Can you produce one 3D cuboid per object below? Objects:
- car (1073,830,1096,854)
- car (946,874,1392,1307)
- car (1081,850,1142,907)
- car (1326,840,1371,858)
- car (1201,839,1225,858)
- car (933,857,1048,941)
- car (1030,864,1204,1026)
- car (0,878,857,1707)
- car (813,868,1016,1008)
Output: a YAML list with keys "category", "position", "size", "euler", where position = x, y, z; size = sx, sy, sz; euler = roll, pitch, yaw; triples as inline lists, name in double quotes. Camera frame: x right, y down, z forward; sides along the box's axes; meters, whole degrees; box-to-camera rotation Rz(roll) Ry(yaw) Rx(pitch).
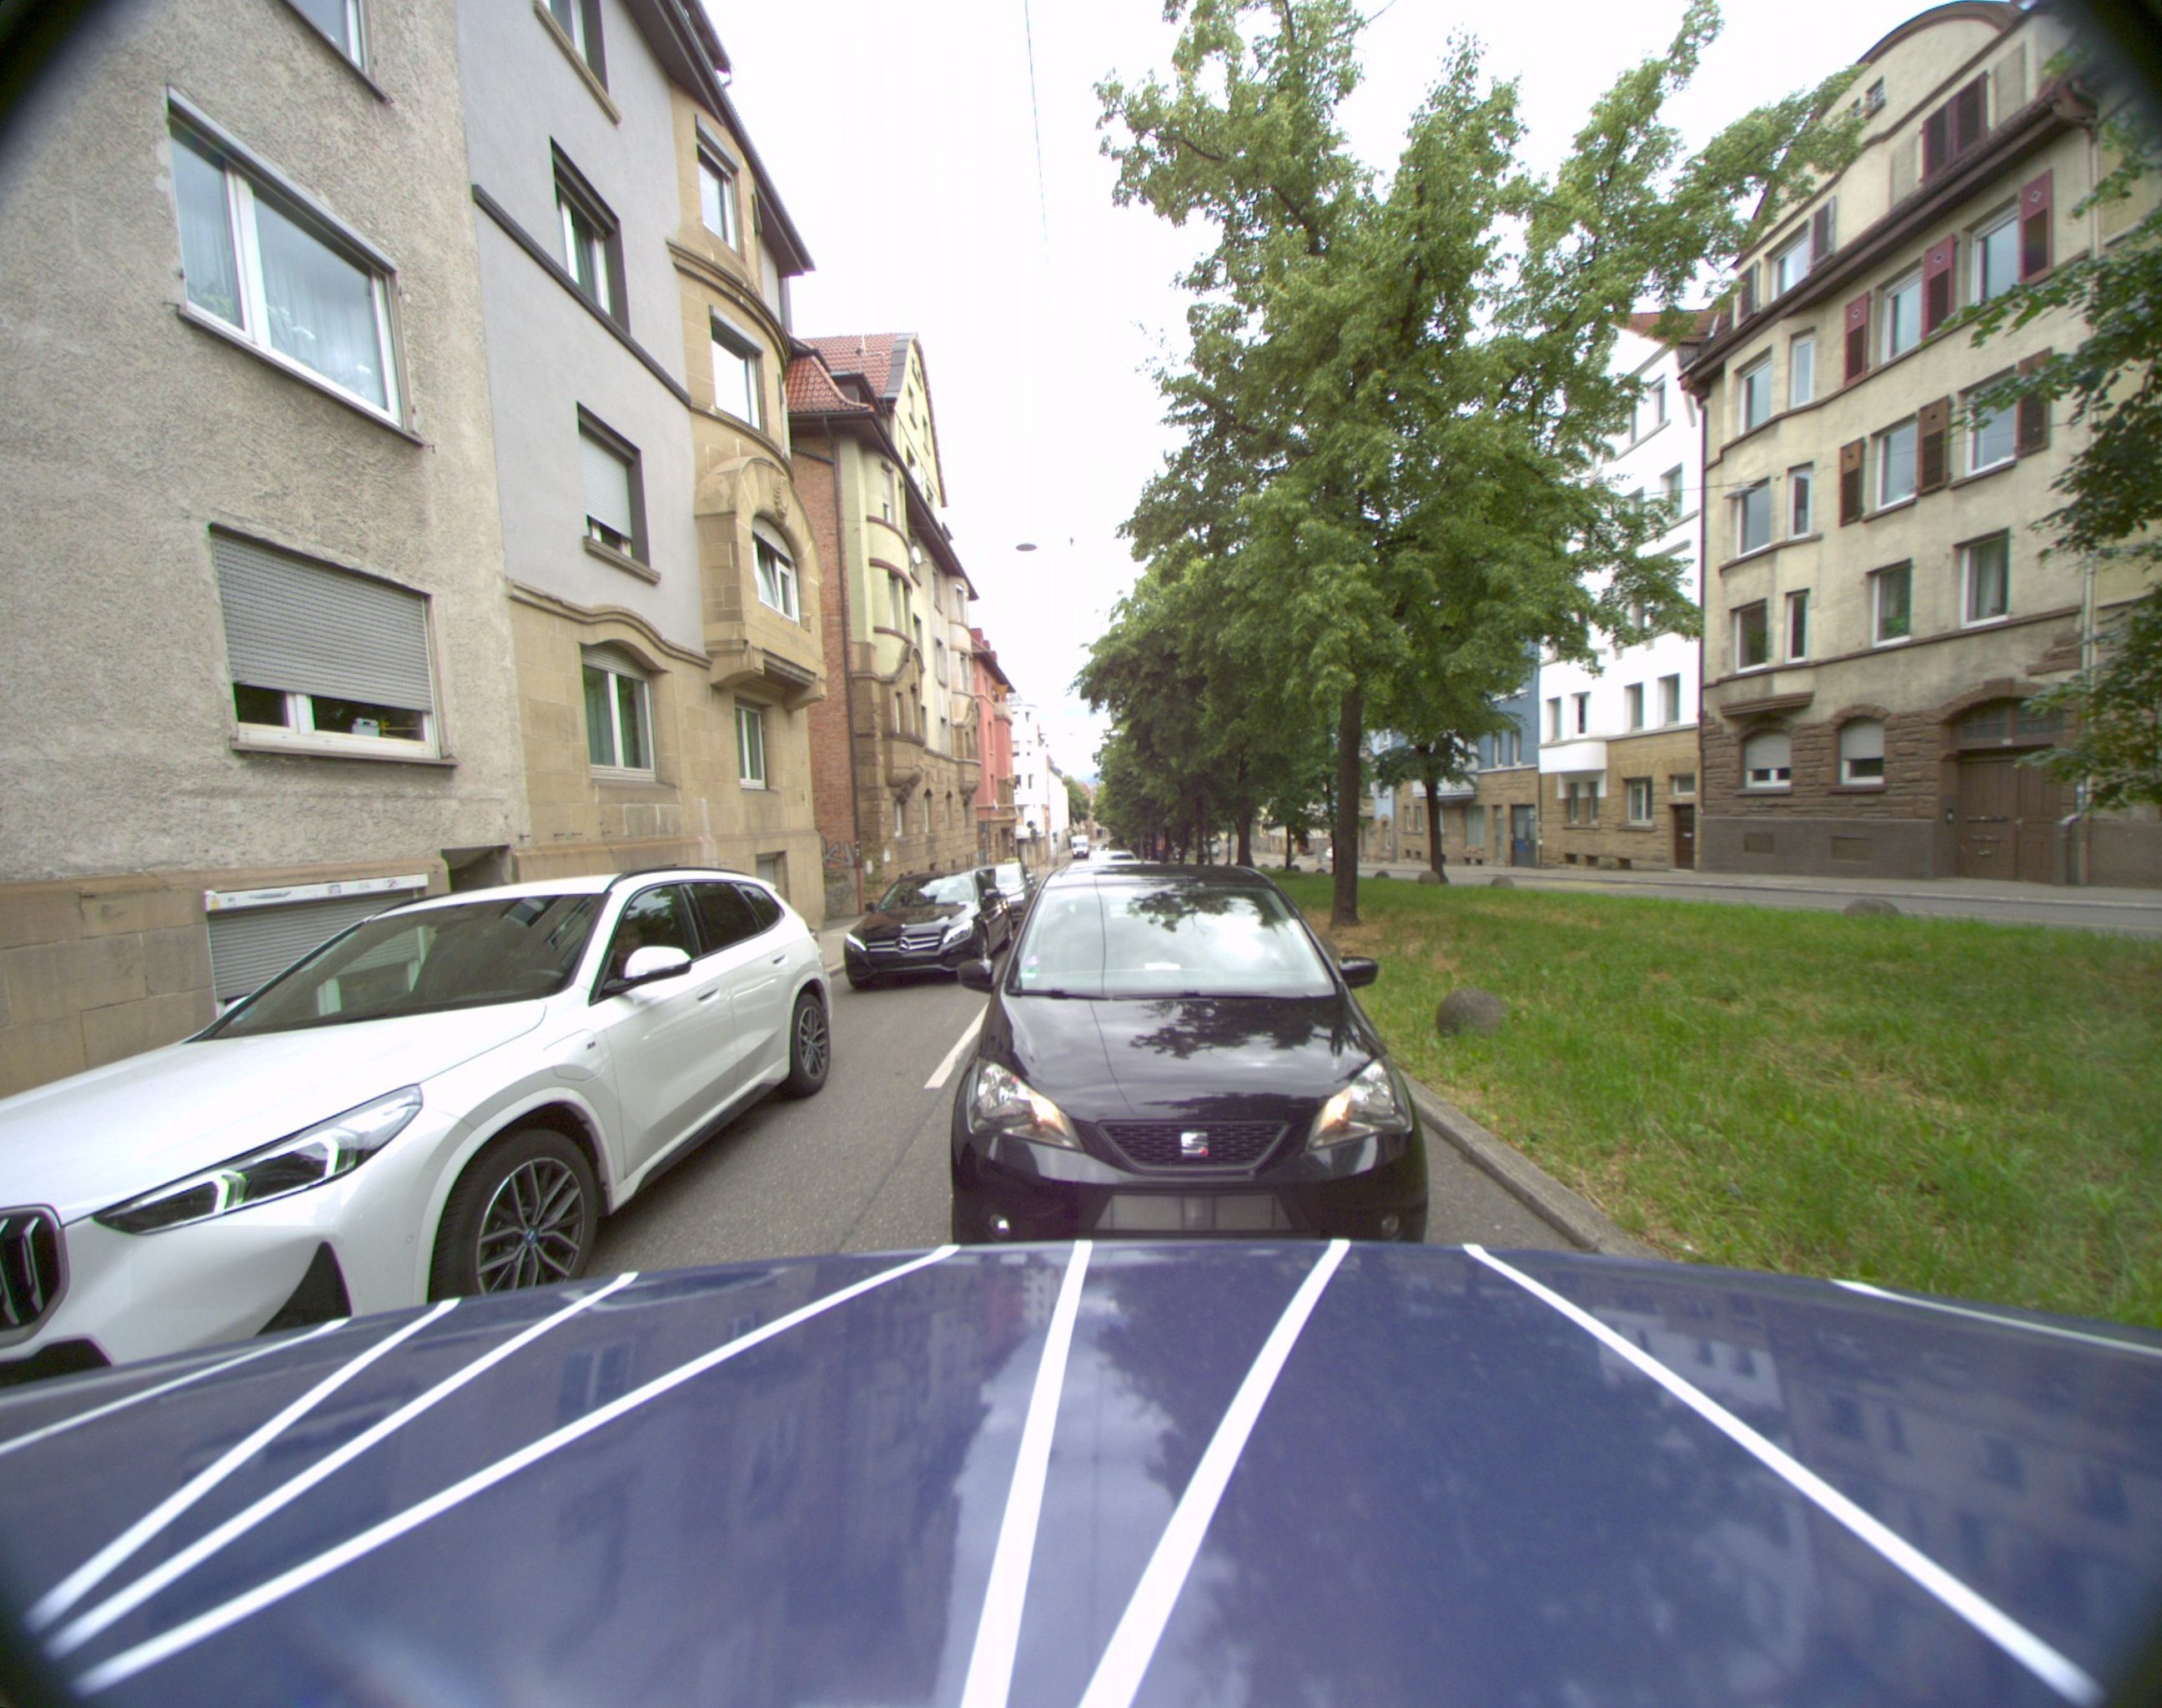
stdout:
- category: "car"
  position: [0.486, -1.509, 97.266]
  size: [2.716, 2.879, 6.452]
  euler: [-2, 1, 1]
- category: "car"
  position: [0.342, 0.912, 4.415]
  size: [1.611, 1.457, 3.296]
  euler: [0, 1, 1]
- category: "car"
  position: [0.864, 0.659, 22.568]
  size: [1.607, 1.492, 3.737]
  euler: [-2, 1, 1]
- category: "car"
  position: [22.186, -0.425, 63.118]
  size: [3.291, 1.323, 1.672]
  euler: [-2, 1, 10]
- category: "car"
  position: [14.847, -0.607, 85.537]
  size: [1.998, 1.933, 5.308]
  euler: [-3, 0, 4]
- category: "car"
  position: [-1.987, 0.952, 18.028]
  size: [1.936, 1.506, 4.303]
  euler: [-6, 1, 2]
- category: "car"
  position: [0.377, 0.923, 9.297]
  size: [1.664, 1.456, 3.580]
  euler: [-2, 1, 1]
- category: "car"
  position: [-2.771, 1.082, 3.753]
  size: [1.859, 1.547, 4.350]
  euler: [-6, 1, 0]
- category: "car"
  position: [-2.165, 1.049, 11.191]
  size: [1.884, 1.369, 4.205]
  euler: [-6, 1, 1]
